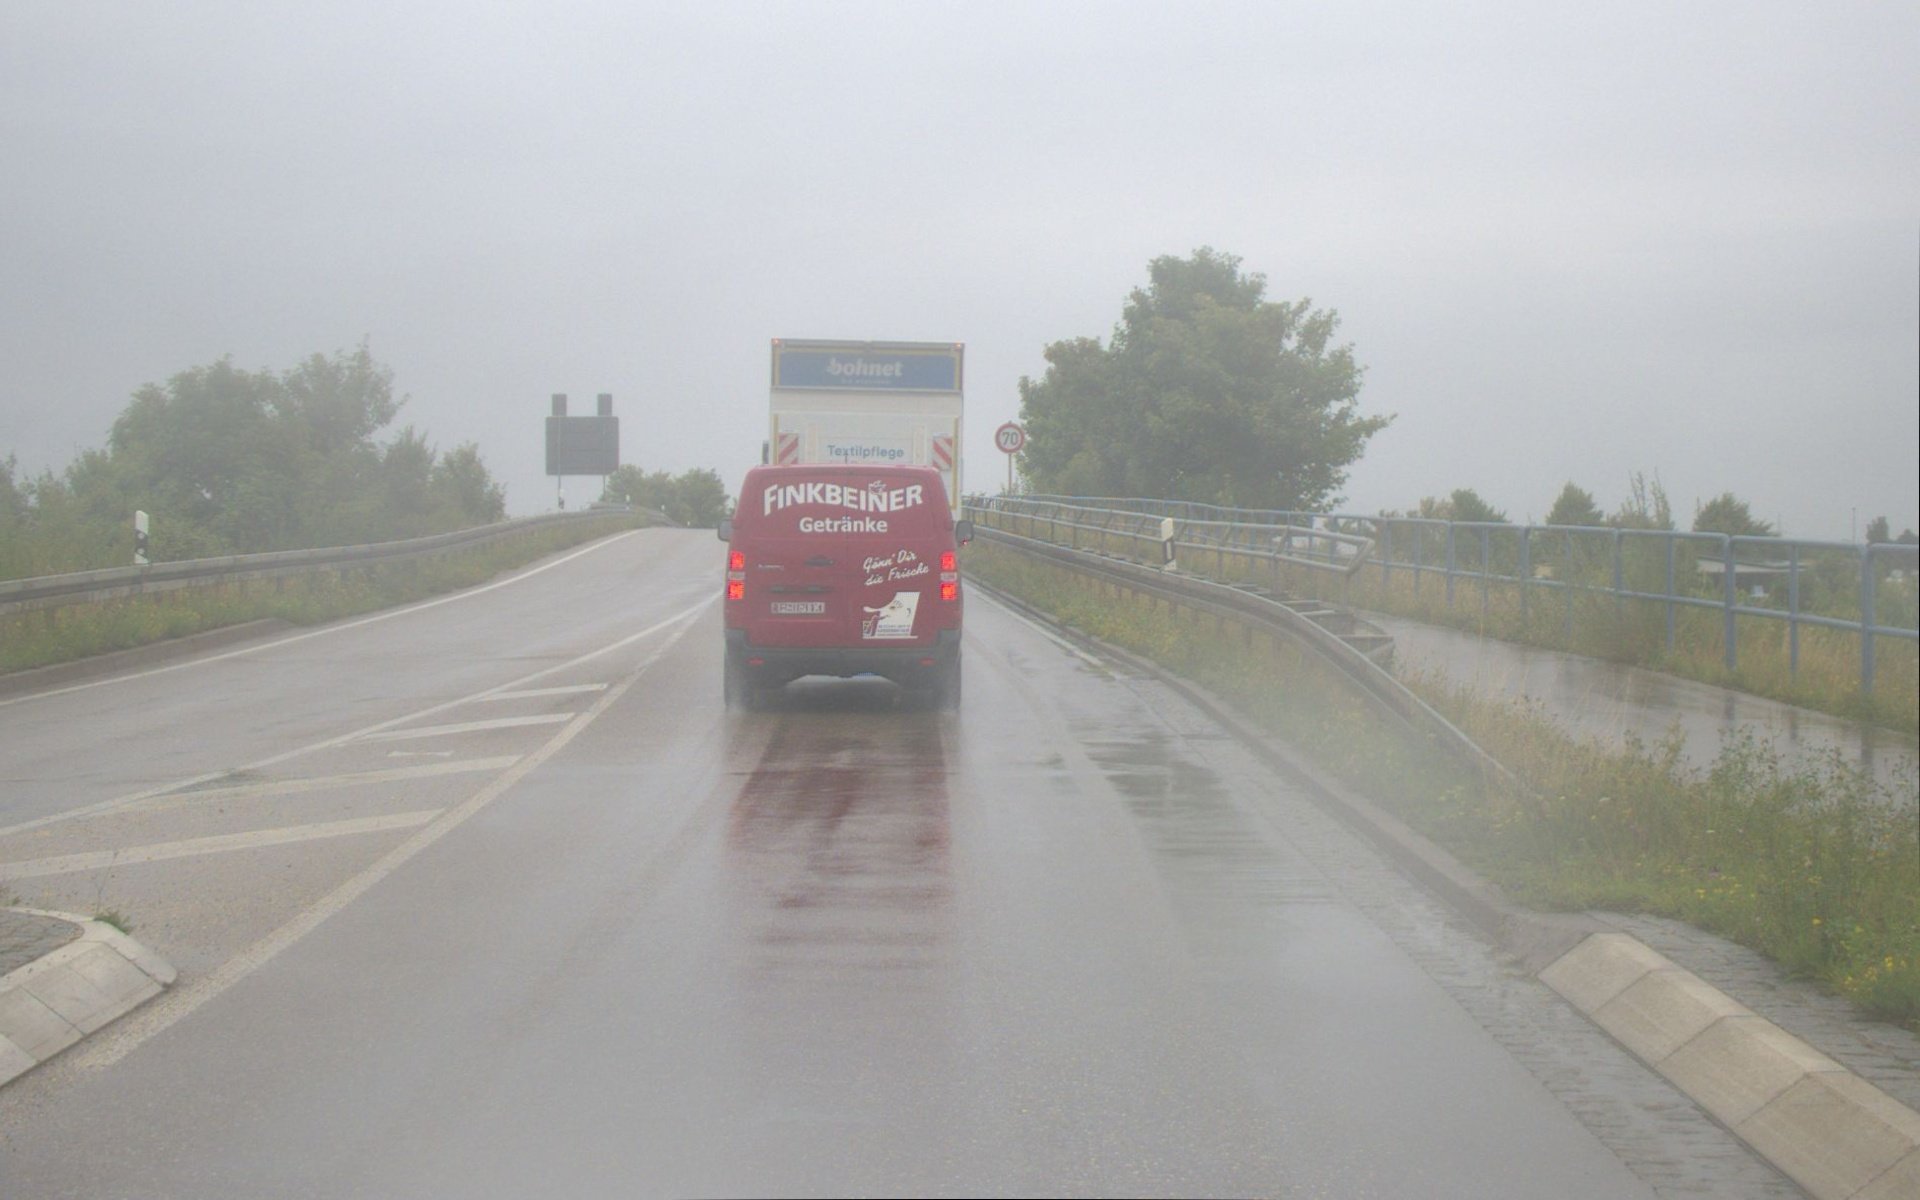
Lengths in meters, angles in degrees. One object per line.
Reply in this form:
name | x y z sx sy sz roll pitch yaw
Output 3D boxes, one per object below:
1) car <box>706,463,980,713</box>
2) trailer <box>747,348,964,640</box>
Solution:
car | -0.866 -0.161 28.396 1.993 1.864 4.979 0 2 1
trailer | -1.481 -1.481 49.696 2.832 3.806 9.716 0 1 -1
